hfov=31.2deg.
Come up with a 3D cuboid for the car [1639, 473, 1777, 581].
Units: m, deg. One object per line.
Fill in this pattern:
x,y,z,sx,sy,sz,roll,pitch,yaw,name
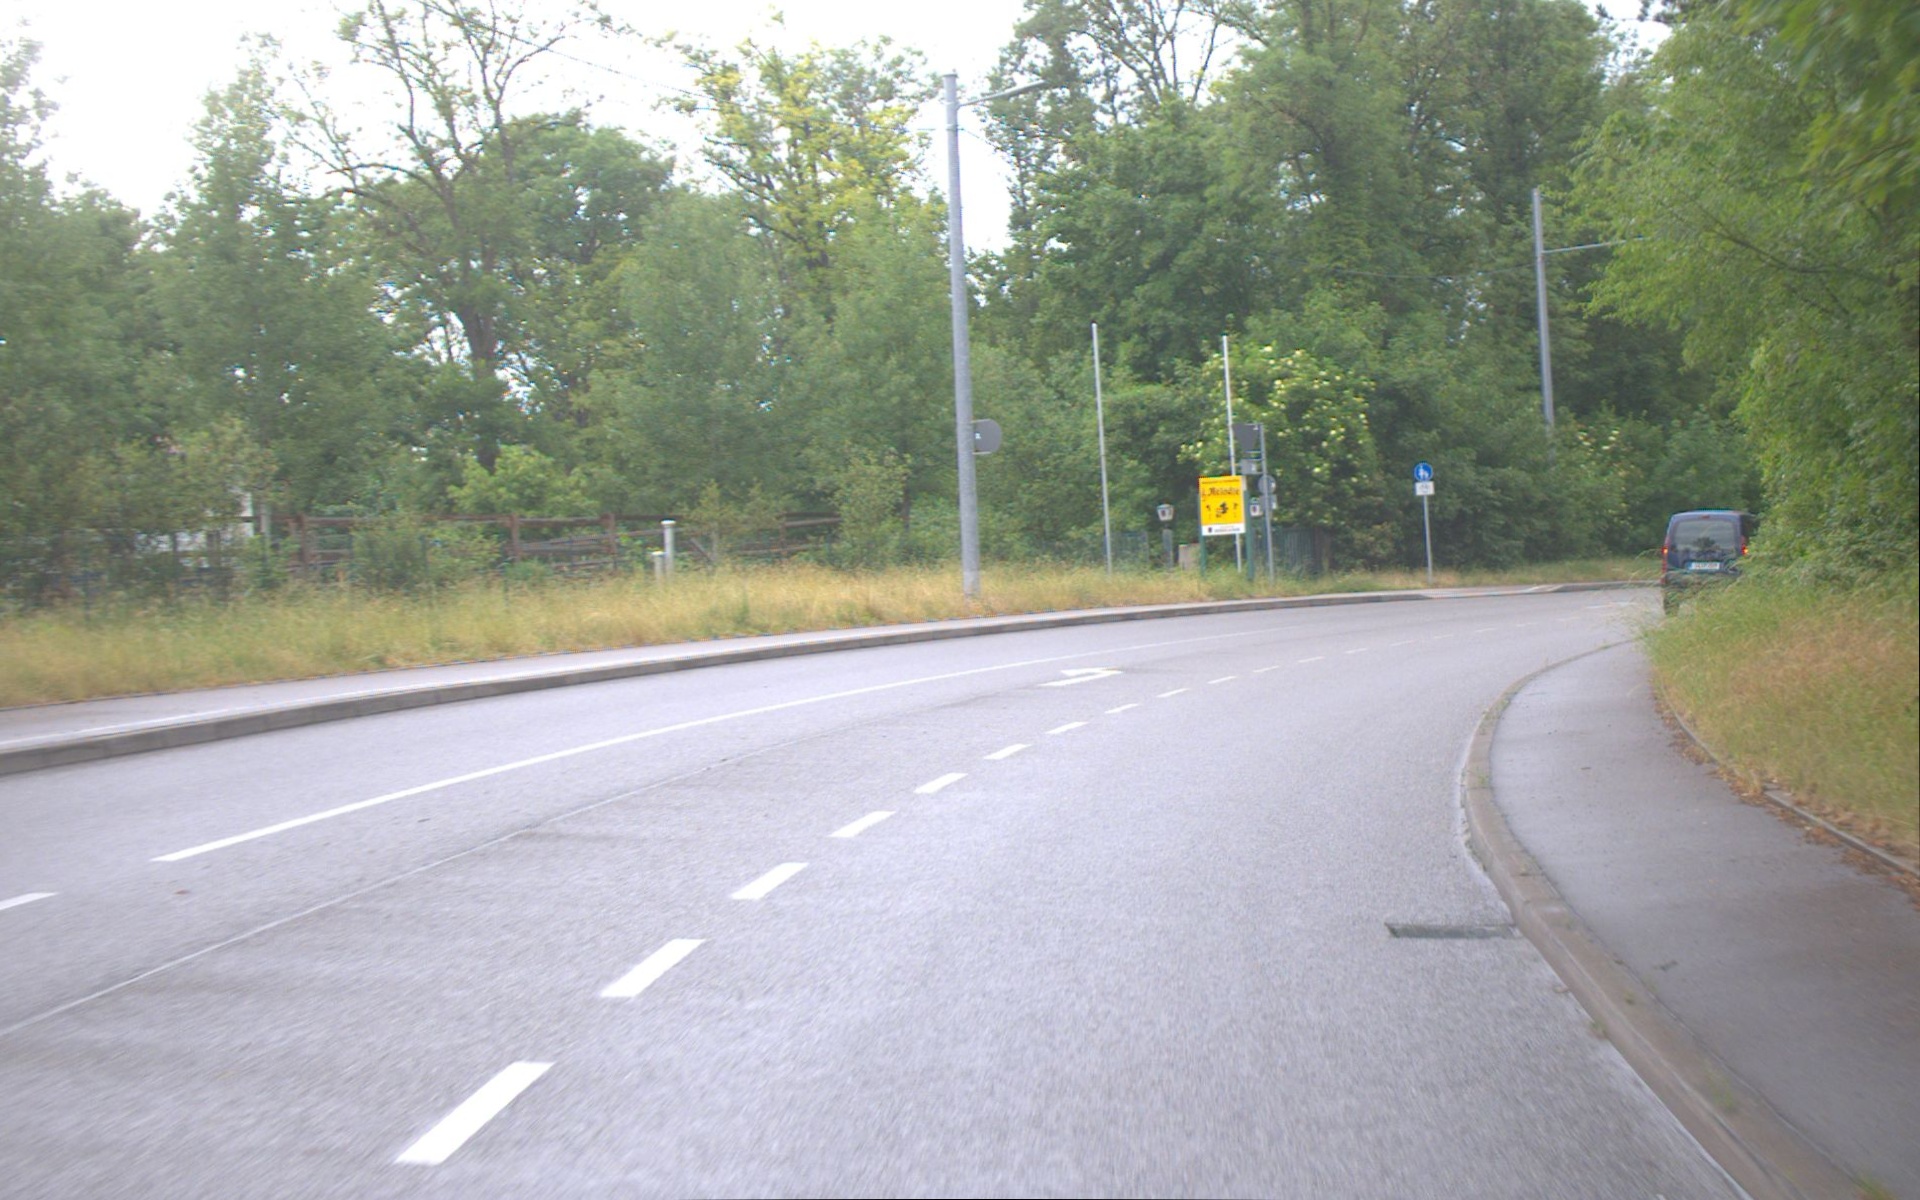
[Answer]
13.198,-1.260,60.488,1.829,1.788,3.996,1,0,20,car
